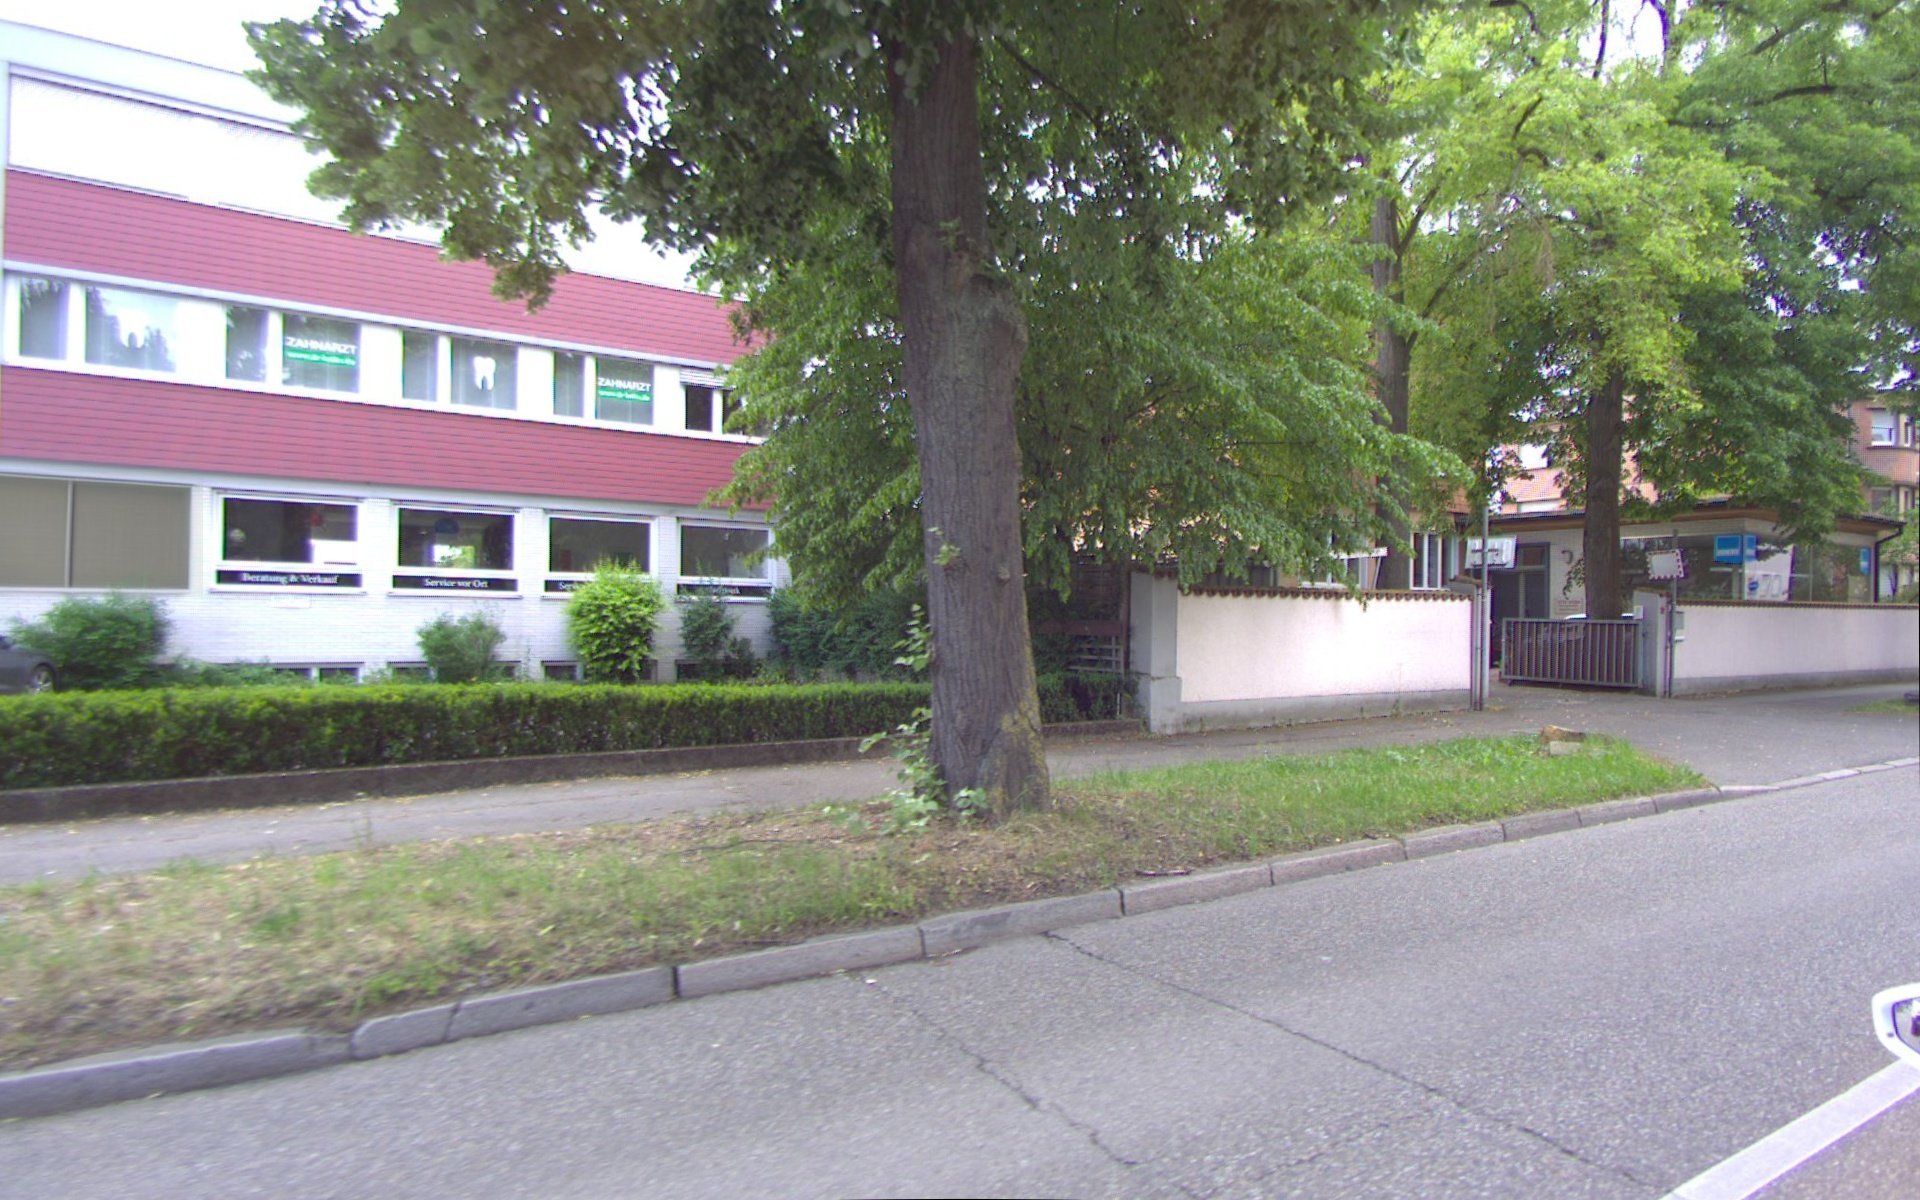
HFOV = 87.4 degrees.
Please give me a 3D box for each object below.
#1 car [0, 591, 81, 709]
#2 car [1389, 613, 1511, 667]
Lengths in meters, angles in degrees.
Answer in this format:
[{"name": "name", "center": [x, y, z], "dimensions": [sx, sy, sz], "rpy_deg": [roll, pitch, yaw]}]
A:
[{"name": "car", "center": [-13.162, 0.634, 12.406], "dimensions": [1.782, 1.499, 4.138], "rpy_deg": [1, 0, -15]}, {"name": "car", "center": [13.074, 1.055, 26.766], "dimensions": [3.359, 1.347, 1.333], "rpy_deg": [1, 0, -32]}]
